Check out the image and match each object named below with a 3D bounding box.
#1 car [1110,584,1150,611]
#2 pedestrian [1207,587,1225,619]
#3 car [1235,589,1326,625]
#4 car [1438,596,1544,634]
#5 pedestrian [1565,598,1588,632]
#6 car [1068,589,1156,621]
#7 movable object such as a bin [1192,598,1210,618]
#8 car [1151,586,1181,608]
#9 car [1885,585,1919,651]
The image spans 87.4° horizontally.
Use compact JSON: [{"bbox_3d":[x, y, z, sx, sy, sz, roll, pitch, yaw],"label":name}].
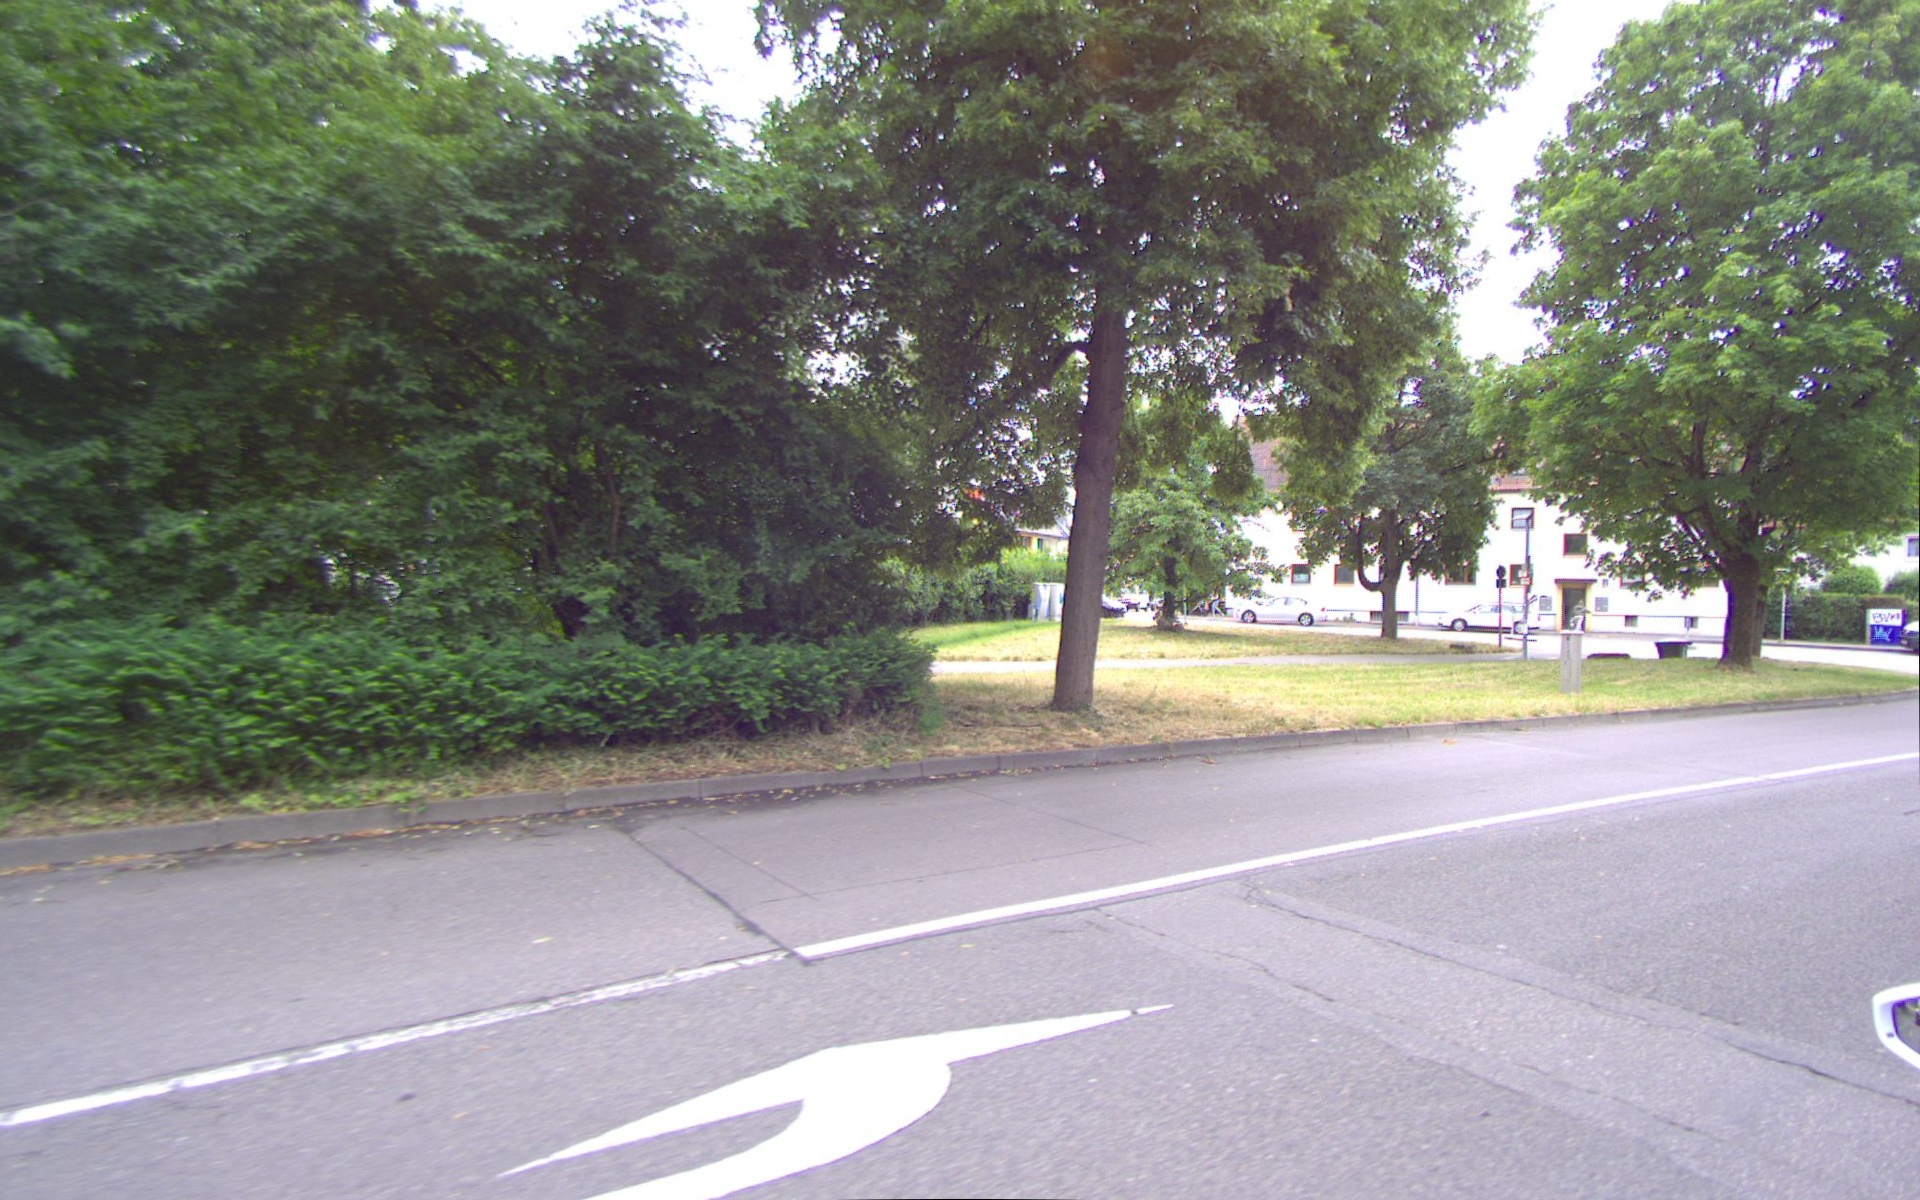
[{"bbox_3d":[12.501,-0.212,73.813,1.796,1.682,3.995,4,4,25],"label":"car"},{"bbox_3d":[13.988,0.164,54.907,0.767,1.655,0.681,4,4,25],"label":"pedestrian"},{"bbox_3d":[16.084,0.345,50.396,4.152,1.554,1.683,3,0,22],"label":"car"},{"bbox_3d":[25.309,0.687,48.052,4.232,1.459,1.721,3,4,21],"label":"car"},{"bbox_3d":[29.788,0.701,48.516,0.735,1.555,0.716,3,4,21],"label":"pedestrian"},{"bbox_3d":[7.425,0.219,49.237,3.931,1.355,1.639,2,3,33],"label":"car"},{"bbox_3d":[13.254,0.439,55.278,0.862,1.010,0.403,4,4,26],"label":"movable object such as a bin"},{"bbox_3d":[17.392,-0.255,84.650,1.624,1.603,3.765,4,4,24],"label":"car"},{"bbox_3d":[41.535,0.838,39.702,6.846,2.556,2.083,2,3,23],"label":"car"}]
